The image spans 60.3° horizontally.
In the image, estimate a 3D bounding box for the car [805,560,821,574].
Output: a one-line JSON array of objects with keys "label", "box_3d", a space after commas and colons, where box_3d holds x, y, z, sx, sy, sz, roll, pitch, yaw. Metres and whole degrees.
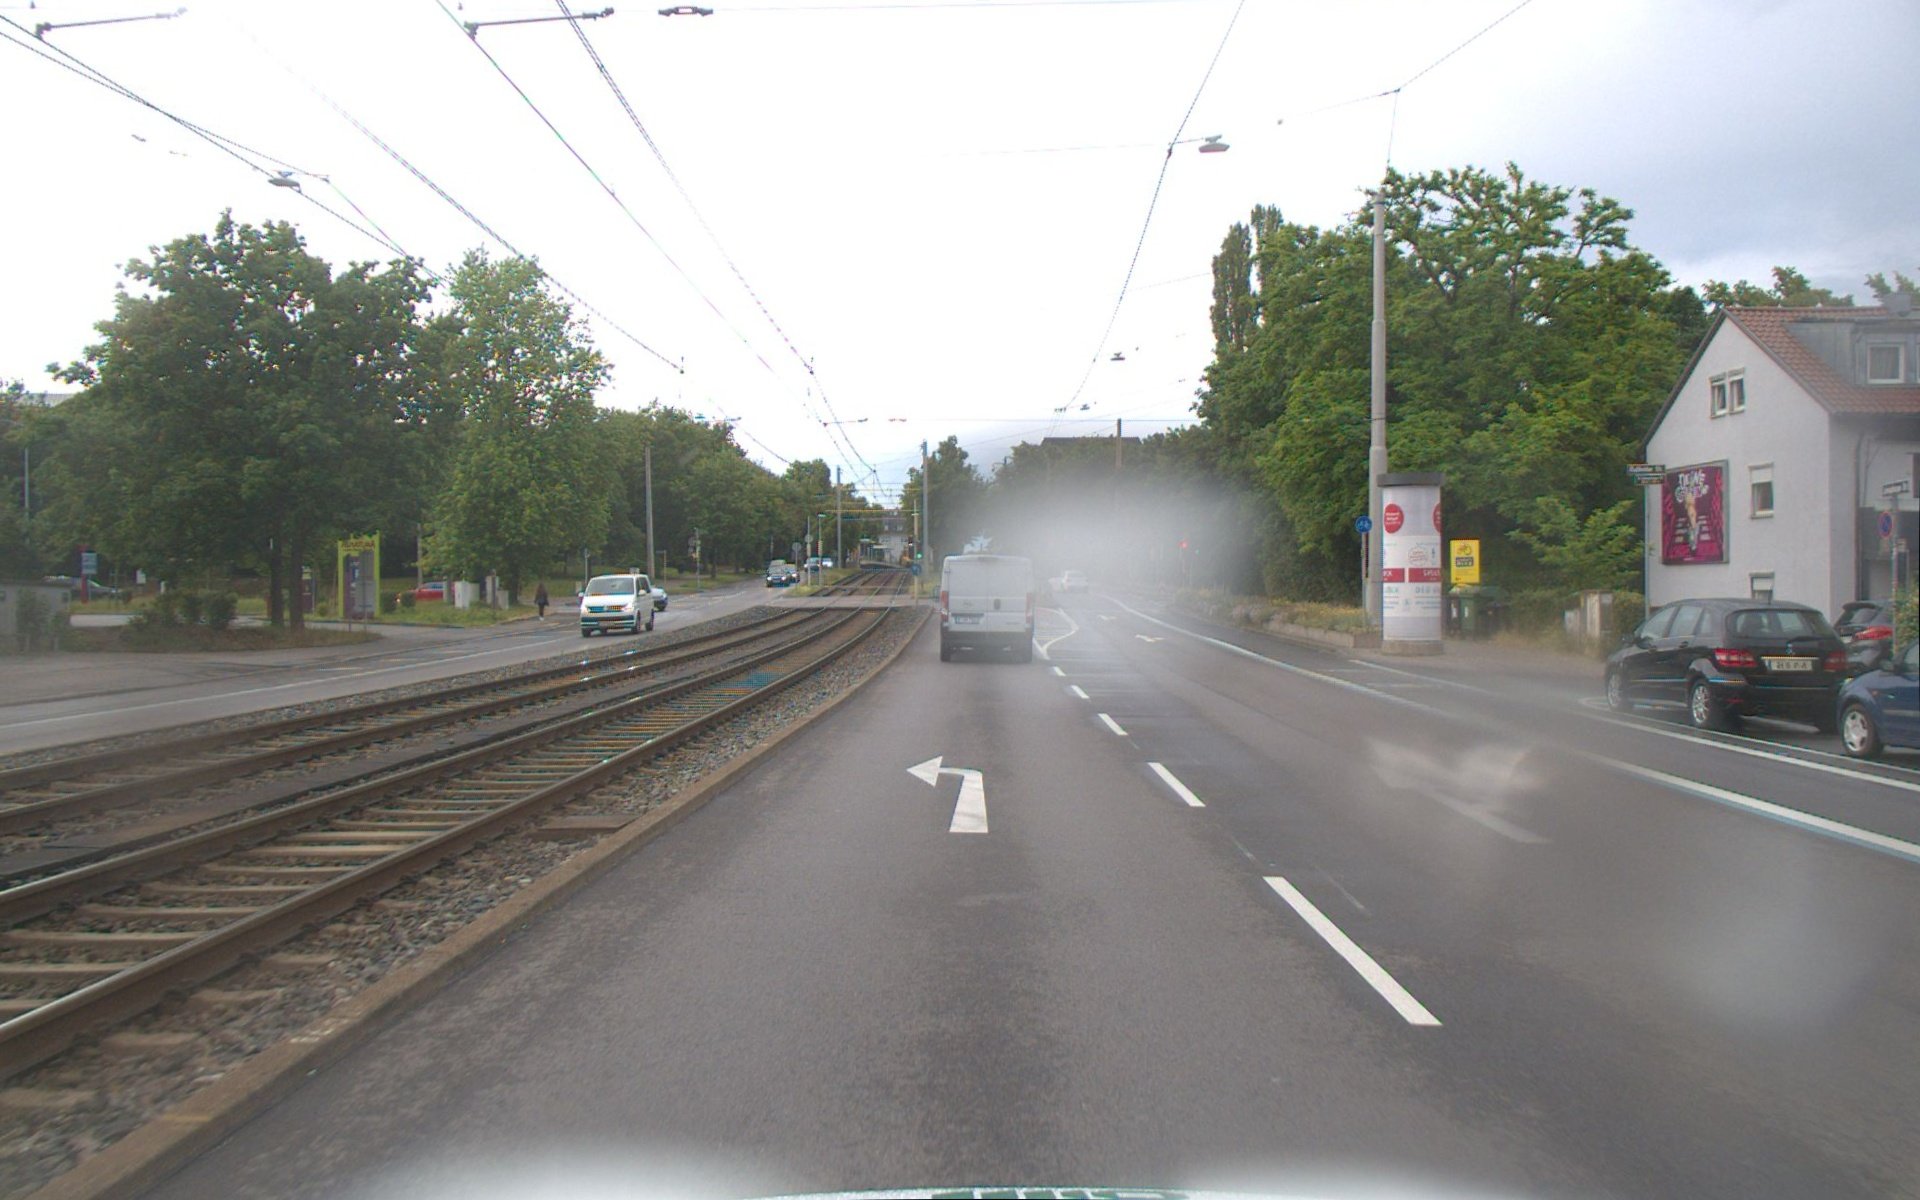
[{"label": "car", "box_3d": [-16.289, -3.648, 183.673, 1.569, 1.426, 3.791, 1, 2, -2]}]

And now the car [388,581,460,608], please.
[{"label": "car", "box_3d": [-32.357, -0.351, 99.895, 3.894, 1.560, 1.838, 1, 0, -10]}]

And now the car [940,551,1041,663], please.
[{"label": "car", "box_3d": [0.635, 0.122, 37.093, 2.102, 2.323, 5.063, 0, 1, 0]}]

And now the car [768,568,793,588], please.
[{"label": "car", "box_3d": [-13.772, -1.669, 127.136, 1.569, 1.426, 3.791, 1, 2, -2]}]

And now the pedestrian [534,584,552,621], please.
[{"label": "pedestrian", "box_3d": [-17.601, 0.101, 69.799, 0.579, 1.559, 0.668, 1, -1, -1]}]

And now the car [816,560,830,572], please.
[{"label": "car", "box_3d": [-16.989, -4.192, 205.468, 1.569, 1.426, 3.791, 1, 2, -2]}]

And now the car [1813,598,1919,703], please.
[{"label": "car", "box_3d": [17.127, 0.920, 28.184, 4.184, 1.684, 1.880, 2, -1, 4]}]

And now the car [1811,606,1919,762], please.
[{"label": "car", "box_3d": [9.924, 0.813, 15.688, 1.633, 1.469, 3.928, 1, 0, -1]}]

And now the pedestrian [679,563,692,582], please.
[{"label": "pedestrian", "box_3d": [-22.974, -2.317, 138.546, 0.994, 1.628, 1.038, -1, 1, -7]}]

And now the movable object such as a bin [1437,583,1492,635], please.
[{"label": "movable object such as a bin", "box_3d": [14.156, 0.259, 46.430, 1.160, 1.443, 1.134, 1, -1, -2]}]

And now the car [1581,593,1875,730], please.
[{"label": "car", "box_3d": [9.898, 0.712, 21.737, 1.799, 1.560, 4.439, 1, 1, 0]}]

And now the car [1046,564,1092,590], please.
[{"label": "car", "box_3d": [7.085, -1.516, 107.833, 1.677, 1.548, 3.773, 0, 2, -18]}]

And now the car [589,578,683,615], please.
[{"label": "car", "box_3d": [-16.739, -0.169, 85.315, 4.661, 1.678, 1.994, -2, 1, 34]}]

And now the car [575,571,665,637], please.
[{"label": "car", "box_3d": [-11.467, 0.097, 56.074, 1.953, 2.048, 5.059, -3, 1, -1]}]

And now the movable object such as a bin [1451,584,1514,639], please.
[{"label": "movable object such as a bin", "box_3d": [14.182, 0.318, 44.929, 1.285, 1.443, 1.299, 1, -1, -2]}]

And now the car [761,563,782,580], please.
[{"label": "car", "box_3d": [-18.595, -2.818, 162.969, 1.685, 1.580, 3.862, -3, 2, -2]}]
